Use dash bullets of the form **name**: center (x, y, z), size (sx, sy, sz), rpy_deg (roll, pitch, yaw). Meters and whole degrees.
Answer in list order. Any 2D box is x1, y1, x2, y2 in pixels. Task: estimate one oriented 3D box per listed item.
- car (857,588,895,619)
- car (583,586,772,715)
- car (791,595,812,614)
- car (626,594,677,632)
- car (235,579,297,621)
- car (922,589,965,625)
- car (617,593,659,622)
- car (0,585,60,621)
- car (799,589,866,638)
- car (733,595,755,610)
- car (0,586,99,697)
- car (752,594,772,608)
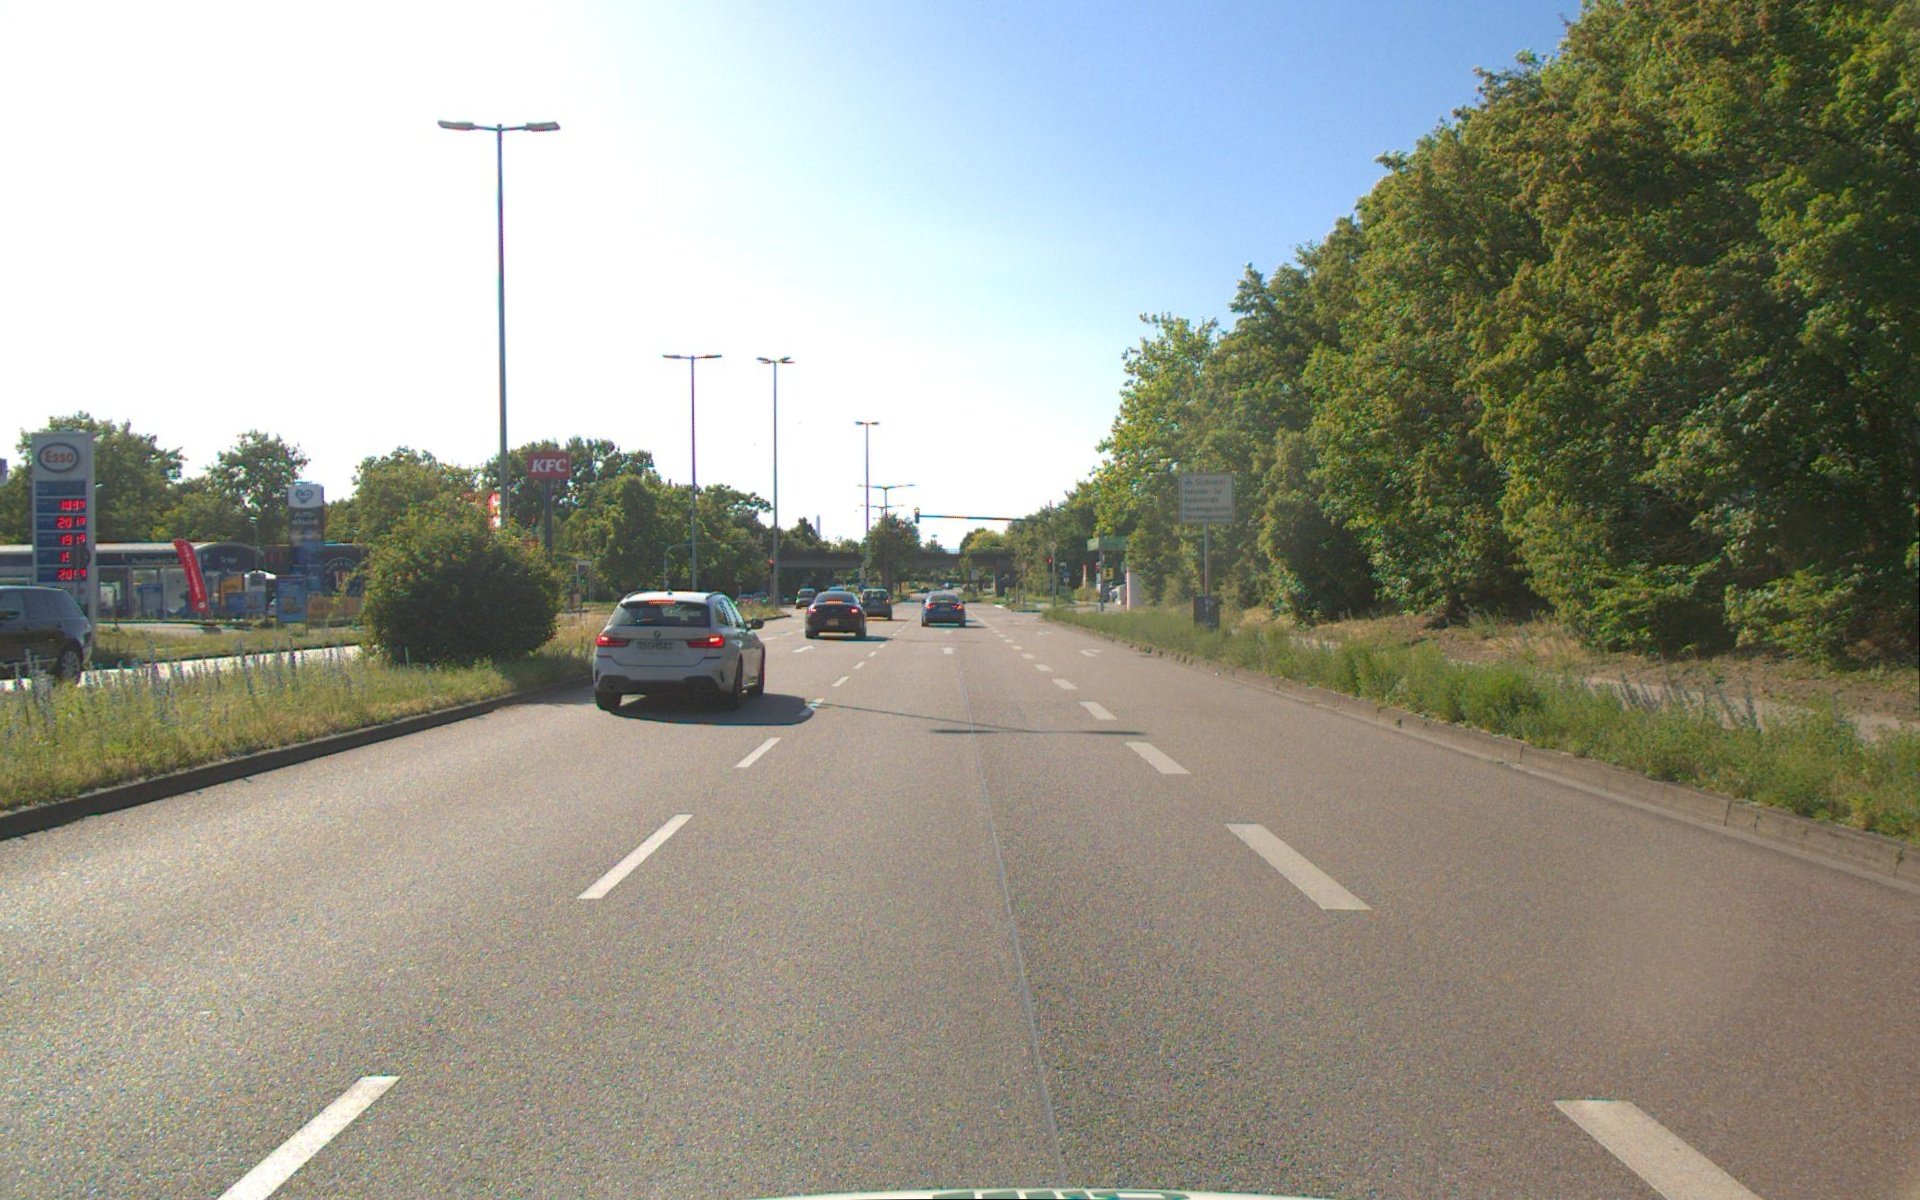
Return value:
- **car**: center (-4.369, 0.157, 86.262), size (1.824, 1.592, 4.547), rpy_deg (0, 0, -1)
- **car**: center (-3.632, 0.585, 22.046), size (1.824, 1.480, 4.546), rpy_deg (1, 1, -2)
- **car**: center (-14.216, 0.395, 148.556), size (1.504, 1.608, 3.671), rpy_deg (-1, 0, -1)
- **car**: center (-12.628, 0.514, 67.876), size (1.463, 1.535, 3.486), rpy_deg (0, 0, -1)
- **car**: center (-37.630, -0.014, 89.763), size (1.782, 2.248, 3.999), rpy_deg (0, 0, -1)
- **car**: center (-0.732, 0.300, 72.046), size (1.824, 1.525, 4.336), rpy_deg (0, 0, -1)
- **car**: center (-17.088, 0.385, 87.888), size (1.504, 1.477, 3.671), rpy_deg (-1, 0, -1)
- **car**: center (-49.940, 0.164, 86.831), size (4.297, 1.875, 1.999), rpy_deg (0, 0, -3)
- **car**: center (-4.005, 0.393, 52.650), size (1.824, 1.480, 4.547), rpy_deg (0, 0, -1)
- **car**: center (-20.686, 0.228, 158.493), size (1.669, 1.427, 3.722), rpy_deg (0, 0, -1)
- **car**: center (-16.686, 0.729, 27.988), size (1.704, 1.833, 4.671), rpy_deg (-3, 0, 0)
- **car**: center (-20.580, 0.111, 172.338), size (1.669, 1.426, 3.722), rpy_deg (0, 0, -1)
